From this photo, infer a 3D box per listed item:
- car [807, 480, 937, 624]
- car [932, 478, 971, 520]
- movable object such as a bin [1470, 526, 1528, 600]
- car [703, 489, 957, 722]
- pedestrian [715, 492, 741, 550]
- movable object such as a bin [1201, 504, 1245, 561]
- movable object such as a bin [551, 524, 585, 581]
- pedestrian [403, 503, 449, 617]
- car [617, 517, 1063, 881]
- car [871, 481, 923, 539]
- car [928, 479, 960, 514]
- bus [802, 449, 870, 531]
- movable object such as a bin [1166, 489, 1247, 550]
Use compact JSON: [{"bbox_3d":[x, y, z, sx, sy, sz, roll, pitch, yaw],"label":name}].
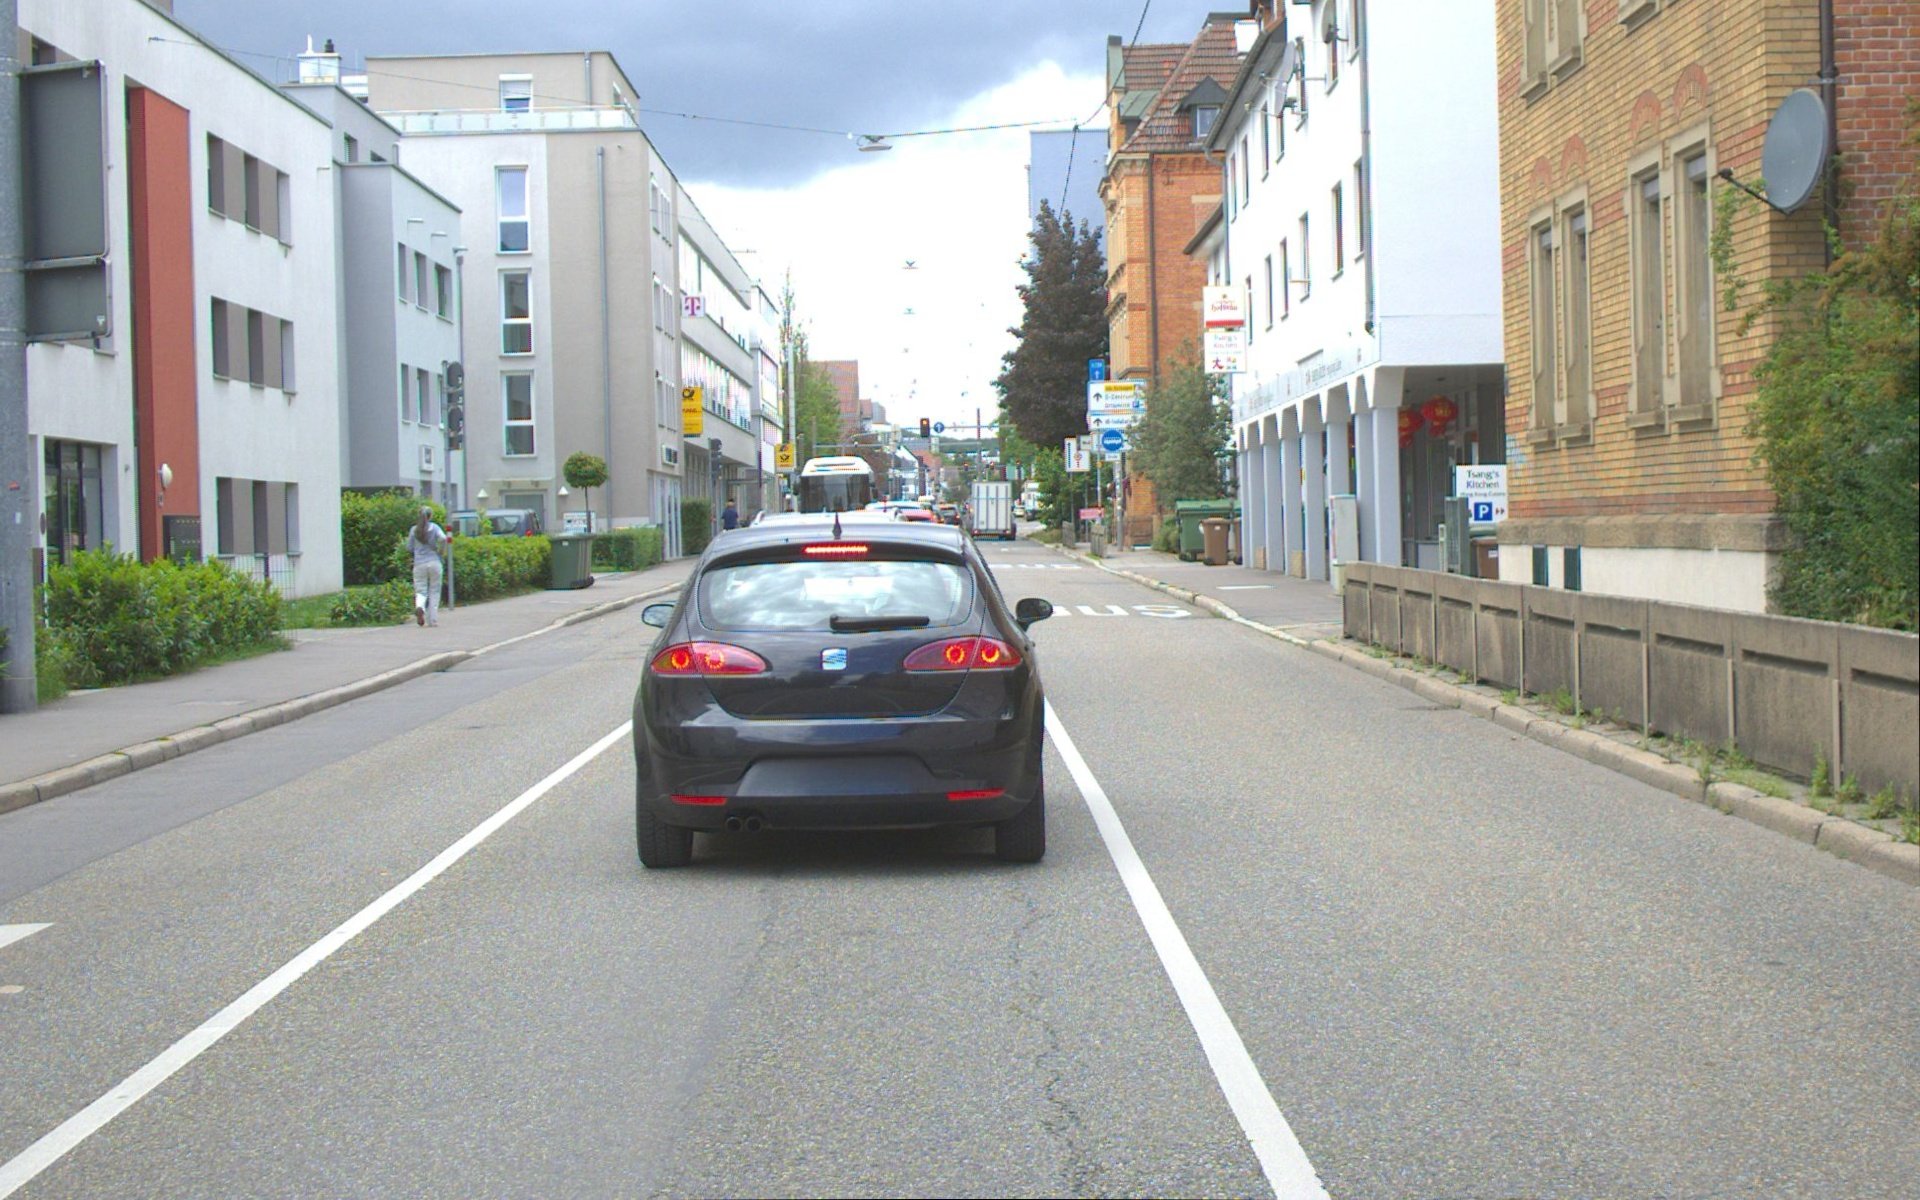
[{"bbox_3d":[-1.059,-0.609,42.513,1.531,1.687,3.693,0,1,-1],"label":"car"},{"bbox_3d":[-0.371,-4.259,144.517,1.531,1.687,3.694,-2,2,-1],"label":"car"},{"bbox_3d":[6.193,-0.430,39.545,0.592,0.837,0.458,0,1,0],"label":"movable object such as a bin"},{"bbox_3d":[-0.969,-0.006,27.057,1.842,1.687,4.000,0,1,-1],"label":"car"},{"bbox_3d":[-7.016,-2.384,103.777,0.730,1.723,0.859,0,1,-1],"label":"pedestrian"},{"bbox_3d":[5.958,-1.523,77.974,0.928,1.279,0.883,0,1,1],"label":"movable object such as a bin"},{"bbox_3d":[-7.461,-0.907,65.452,0.549,1.075,0.612,0,1,1],"label":"movable object such as a bin"},{"bbox_3d":[-7.217,-0.544,46.496,0.526,1.542,0.541,0,1,0],"label":"pedestrian"},{"bbox_3d":[-0.485,0.347,15.611,1.759,1.437,4.000,0,1,0],"label":"car"},{"bbox_3d":[-1.873,-2.698,103.217,1.531,1.687,3.693,0,1,-1],"label":"car"},{"bbox_3d":[-0.822,-5.175,171.183,1.531,1.687,3.693,-2,2,-1],"label":"car"},{"bbox_3d":[-4.491,-3.990,125.909,2.210,2.876,8.920,0,1,0],"label":"bus"},{"bbox_3d":[5.886,-1.913,82.191,1.818,1.432,1.993,0,1,1],"label":"movable object such as a bin"}]
